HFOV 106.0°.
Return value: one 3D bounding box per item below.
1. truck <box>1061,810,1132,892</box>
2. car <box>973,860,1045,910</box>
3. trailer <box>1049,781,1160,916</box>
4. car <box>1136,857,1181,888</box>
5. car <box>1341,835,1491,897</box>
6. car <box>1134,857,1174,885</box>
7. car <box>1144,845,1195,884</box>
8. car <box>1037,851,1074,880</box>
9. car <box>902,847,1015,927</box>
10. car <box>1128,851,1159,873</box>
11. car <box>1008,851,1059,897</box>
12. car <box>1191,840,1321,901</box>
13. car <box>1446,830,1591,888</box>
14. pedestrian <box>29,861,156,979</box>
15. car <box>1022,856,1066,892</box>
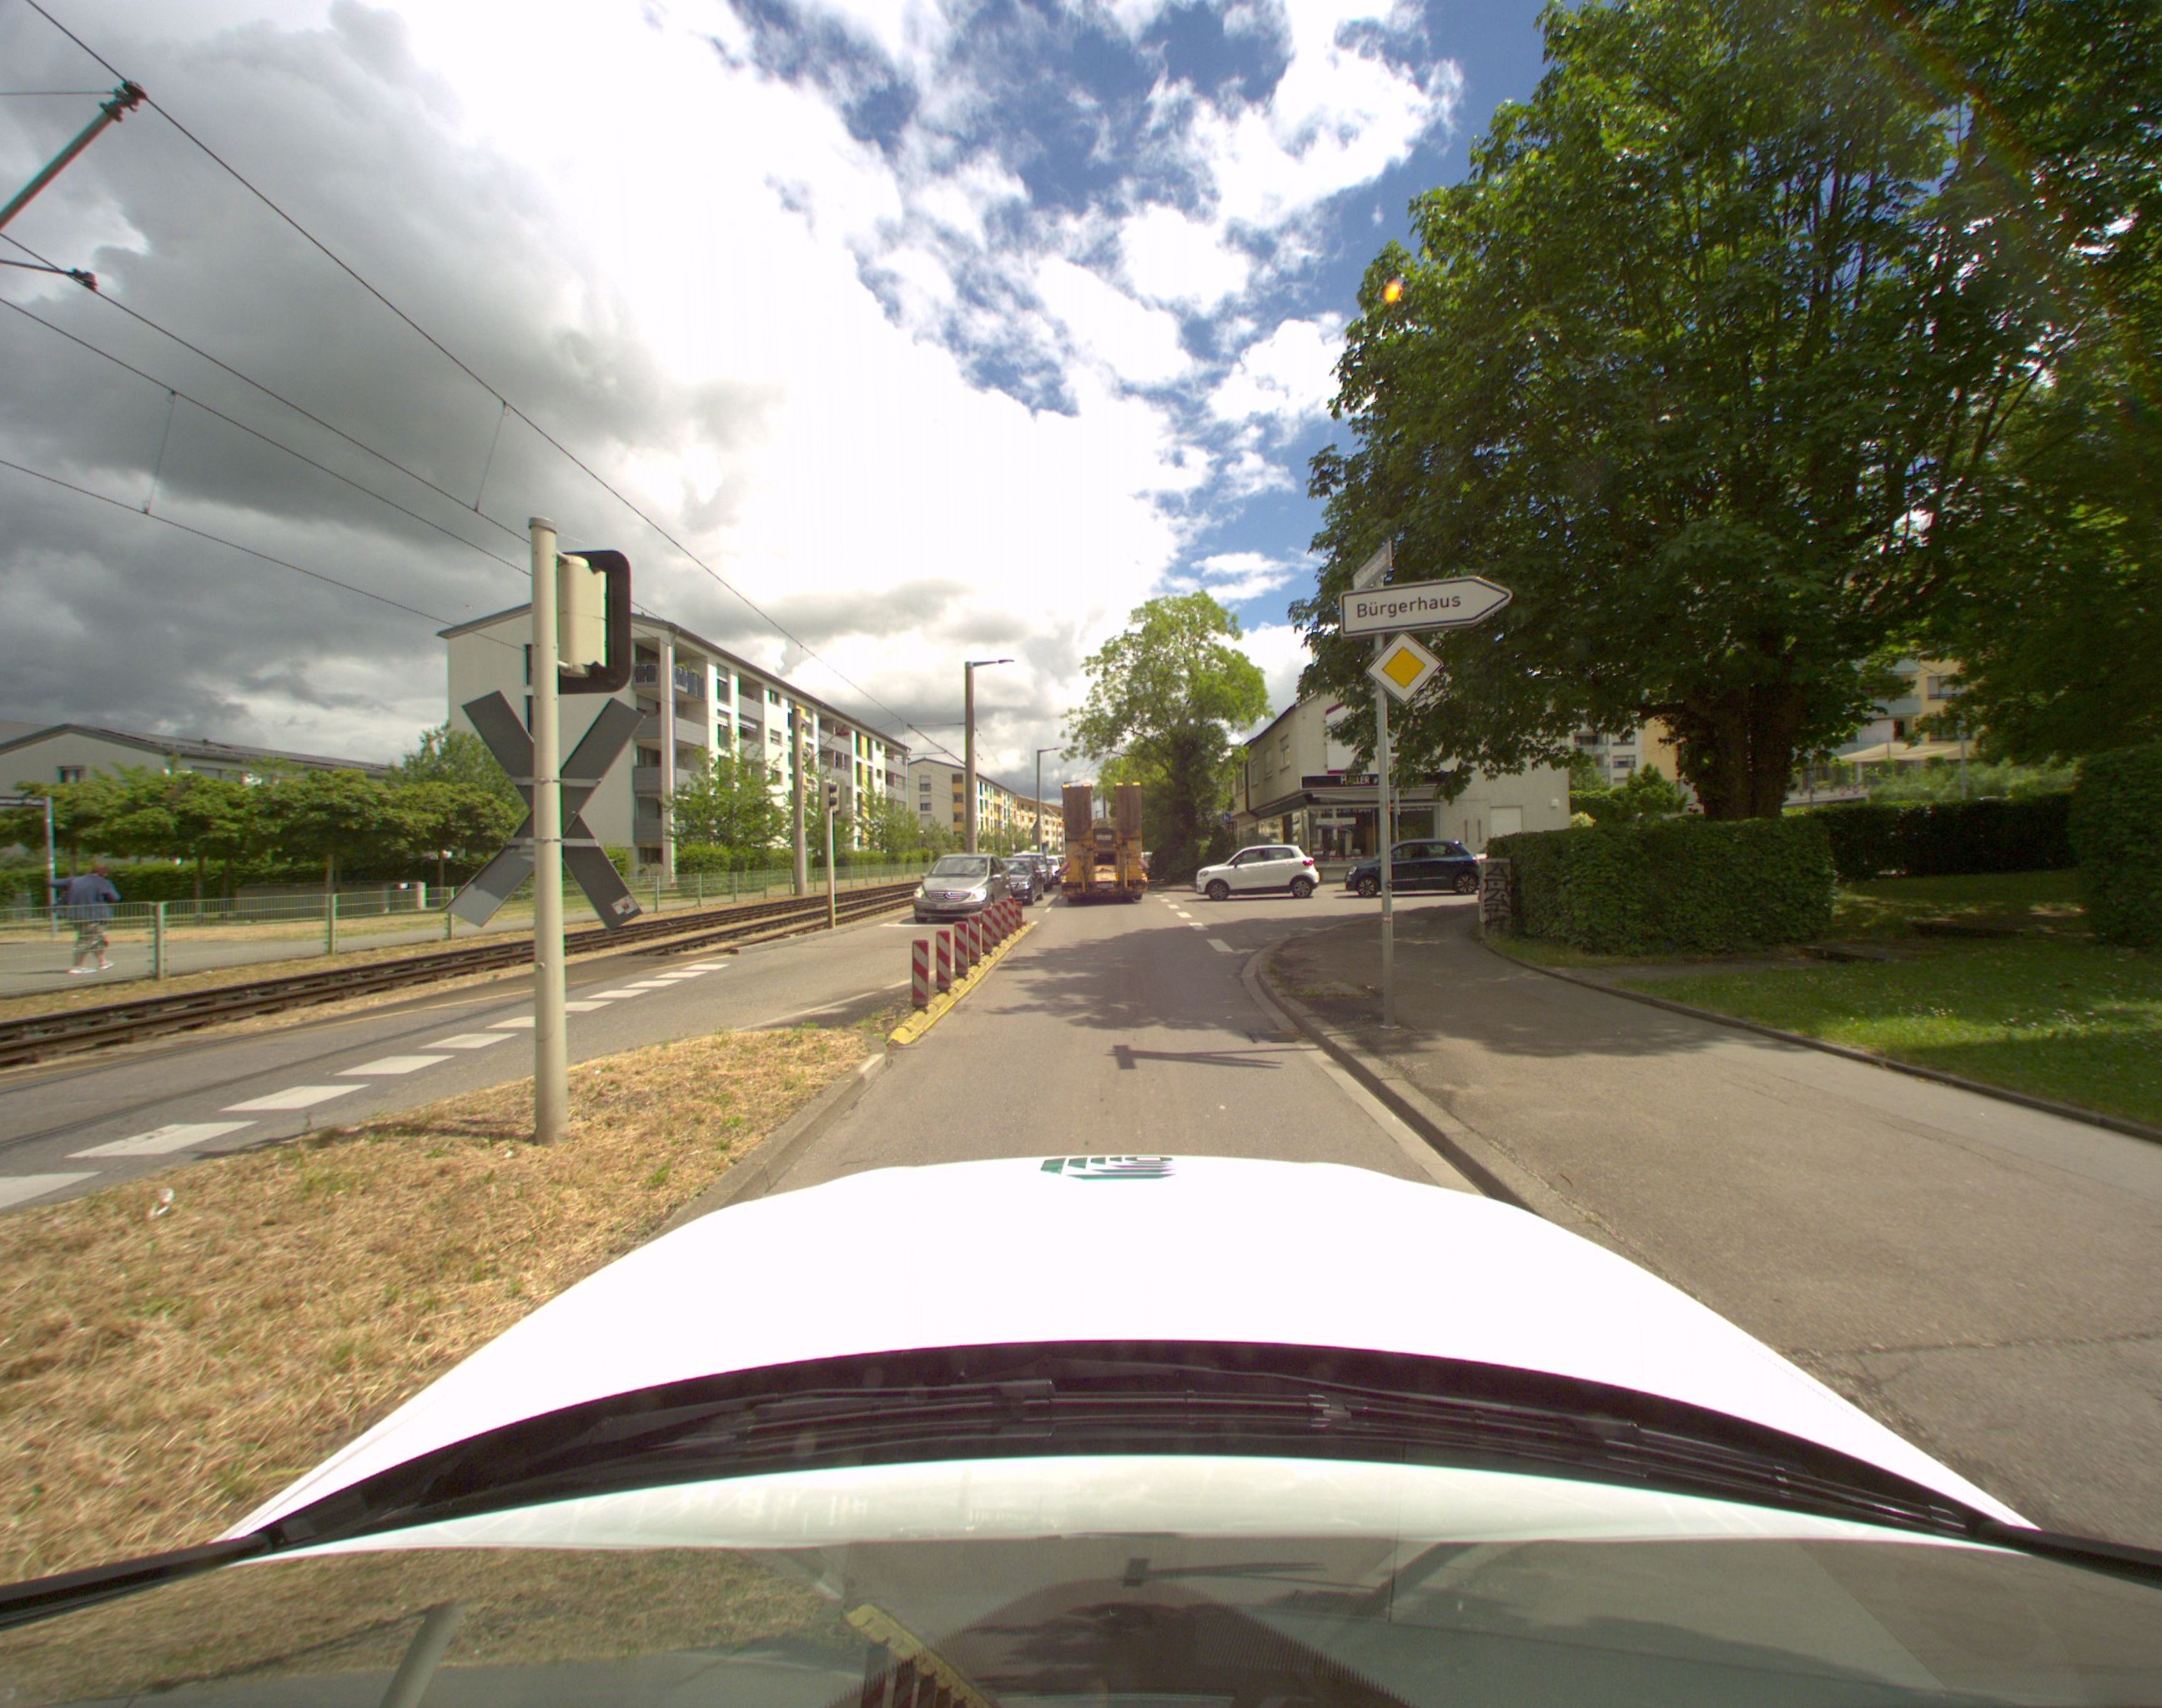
[{"bbox_3d":[0.601,-0.195,38.431,2.826,3.330,7.981,-3,1,-1],"label":"truck"},{"bbox_3d":[-2.189,0.932,25.715,1.594,1.381,3.960,-3,-1,4],"label":"car"},{"bbox_3d":[0.589,-0.252,29.360,3.042,3.772,11.607,-3,1,-1],"label":"trailer"},{"bbox_3d":[4.057,0.935,43.283,1.987,1.387,4.001,-3,1,1],"label":"car"},{"bbox_3d":[9.240,0.322,22.766,3.667,1.522,2.010,-3,1,18],"label":"car"},{"bbox_3d":[4.194,0.977,47.588,1.987,1.387,4.001,-3,1,1],"label":"car"},{"bbox_3d":[4.090,0.429,38.275,1.987,1.618,4.001,-3,1,1],"label":"car"},{"bbox_3d":[-1.528,0.684,49.989,1.987,1.520,3.892,-3,1,1],"label":"car"},{"bbox_3d":[-2.866,0.744,19.950,1.794,1.652,4.136,-3,-1,4],"label":"car"},{"bbox_3d":[4.574,0.575,60.365,1.987,1.387,4.001,-3,1,1],"label":"car"},{"bbox_3d":[-1.961,0.821,34.486,1.594,1.732,3.942,-3,-1,4],"label":"car"},{"bbox_3d":[5.207,0.486,24.327,3.573,1.584,2.007,-3,-1,13],"label":"car"},{"bbox_3d":[13.147,0.130,24.572,3.453,1.523,1.707,-3,1,-6],"label":"car"},{"bbox_3d":[-14.851,0.970,12.256,0.746,1.661,0.870,-3,1,5],"label":"pedestrian"},{"bbox_3d":[-1.879,0.991,42.542,1.987,1.593,3.892,-3,1,1],"label":"car"}]
